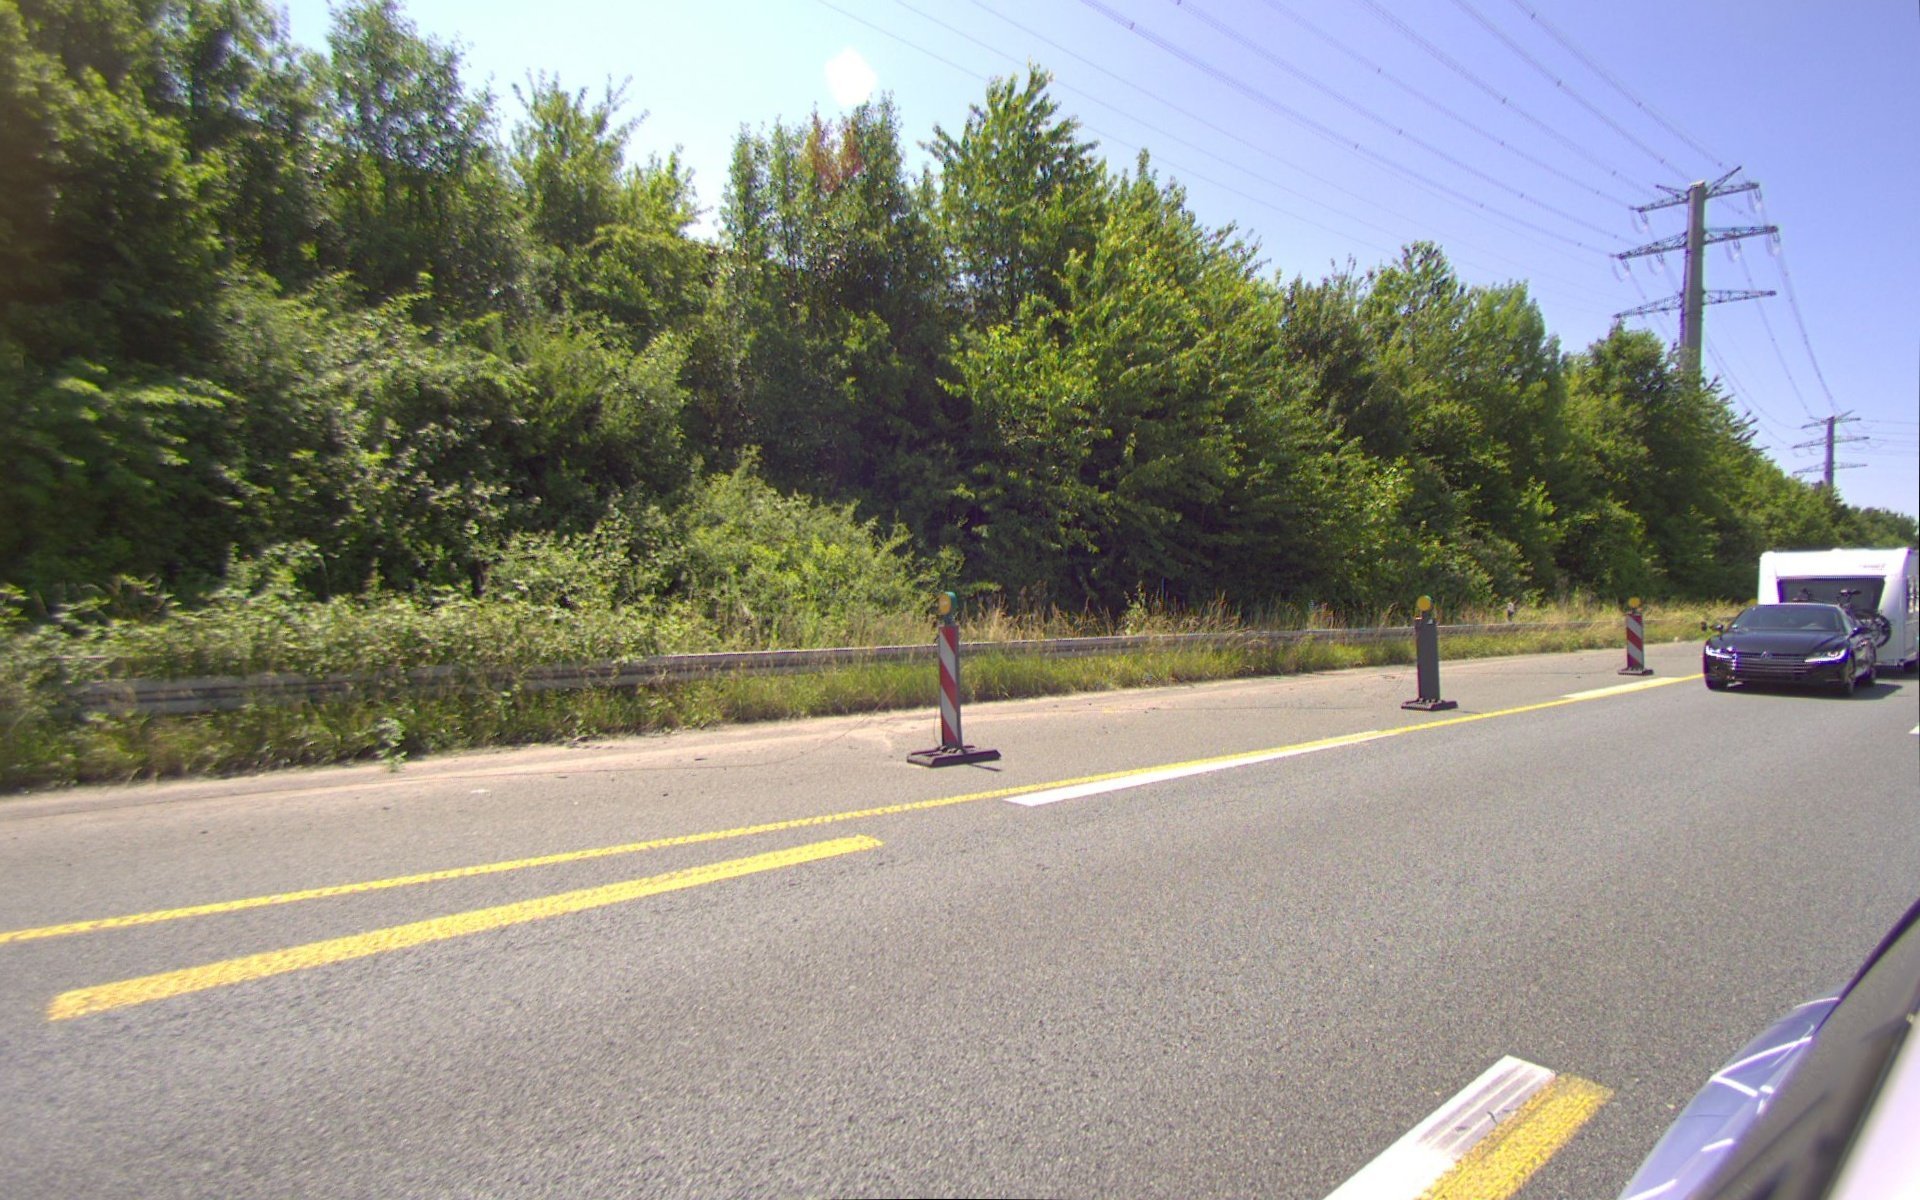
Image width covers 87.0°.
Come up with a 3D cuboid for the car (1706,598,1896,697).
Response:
[{"bbox_3d":[14.023,0.686,16.798,4.136,1.425,1.799,0,0,-41],"label":"car"}]

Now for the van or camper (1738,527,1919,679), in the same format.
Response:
[{"bbox_3d":[18.631,0.044,20.982,8.271,2.597,2.430,0,0,-41],"label":"van or camper"}]
